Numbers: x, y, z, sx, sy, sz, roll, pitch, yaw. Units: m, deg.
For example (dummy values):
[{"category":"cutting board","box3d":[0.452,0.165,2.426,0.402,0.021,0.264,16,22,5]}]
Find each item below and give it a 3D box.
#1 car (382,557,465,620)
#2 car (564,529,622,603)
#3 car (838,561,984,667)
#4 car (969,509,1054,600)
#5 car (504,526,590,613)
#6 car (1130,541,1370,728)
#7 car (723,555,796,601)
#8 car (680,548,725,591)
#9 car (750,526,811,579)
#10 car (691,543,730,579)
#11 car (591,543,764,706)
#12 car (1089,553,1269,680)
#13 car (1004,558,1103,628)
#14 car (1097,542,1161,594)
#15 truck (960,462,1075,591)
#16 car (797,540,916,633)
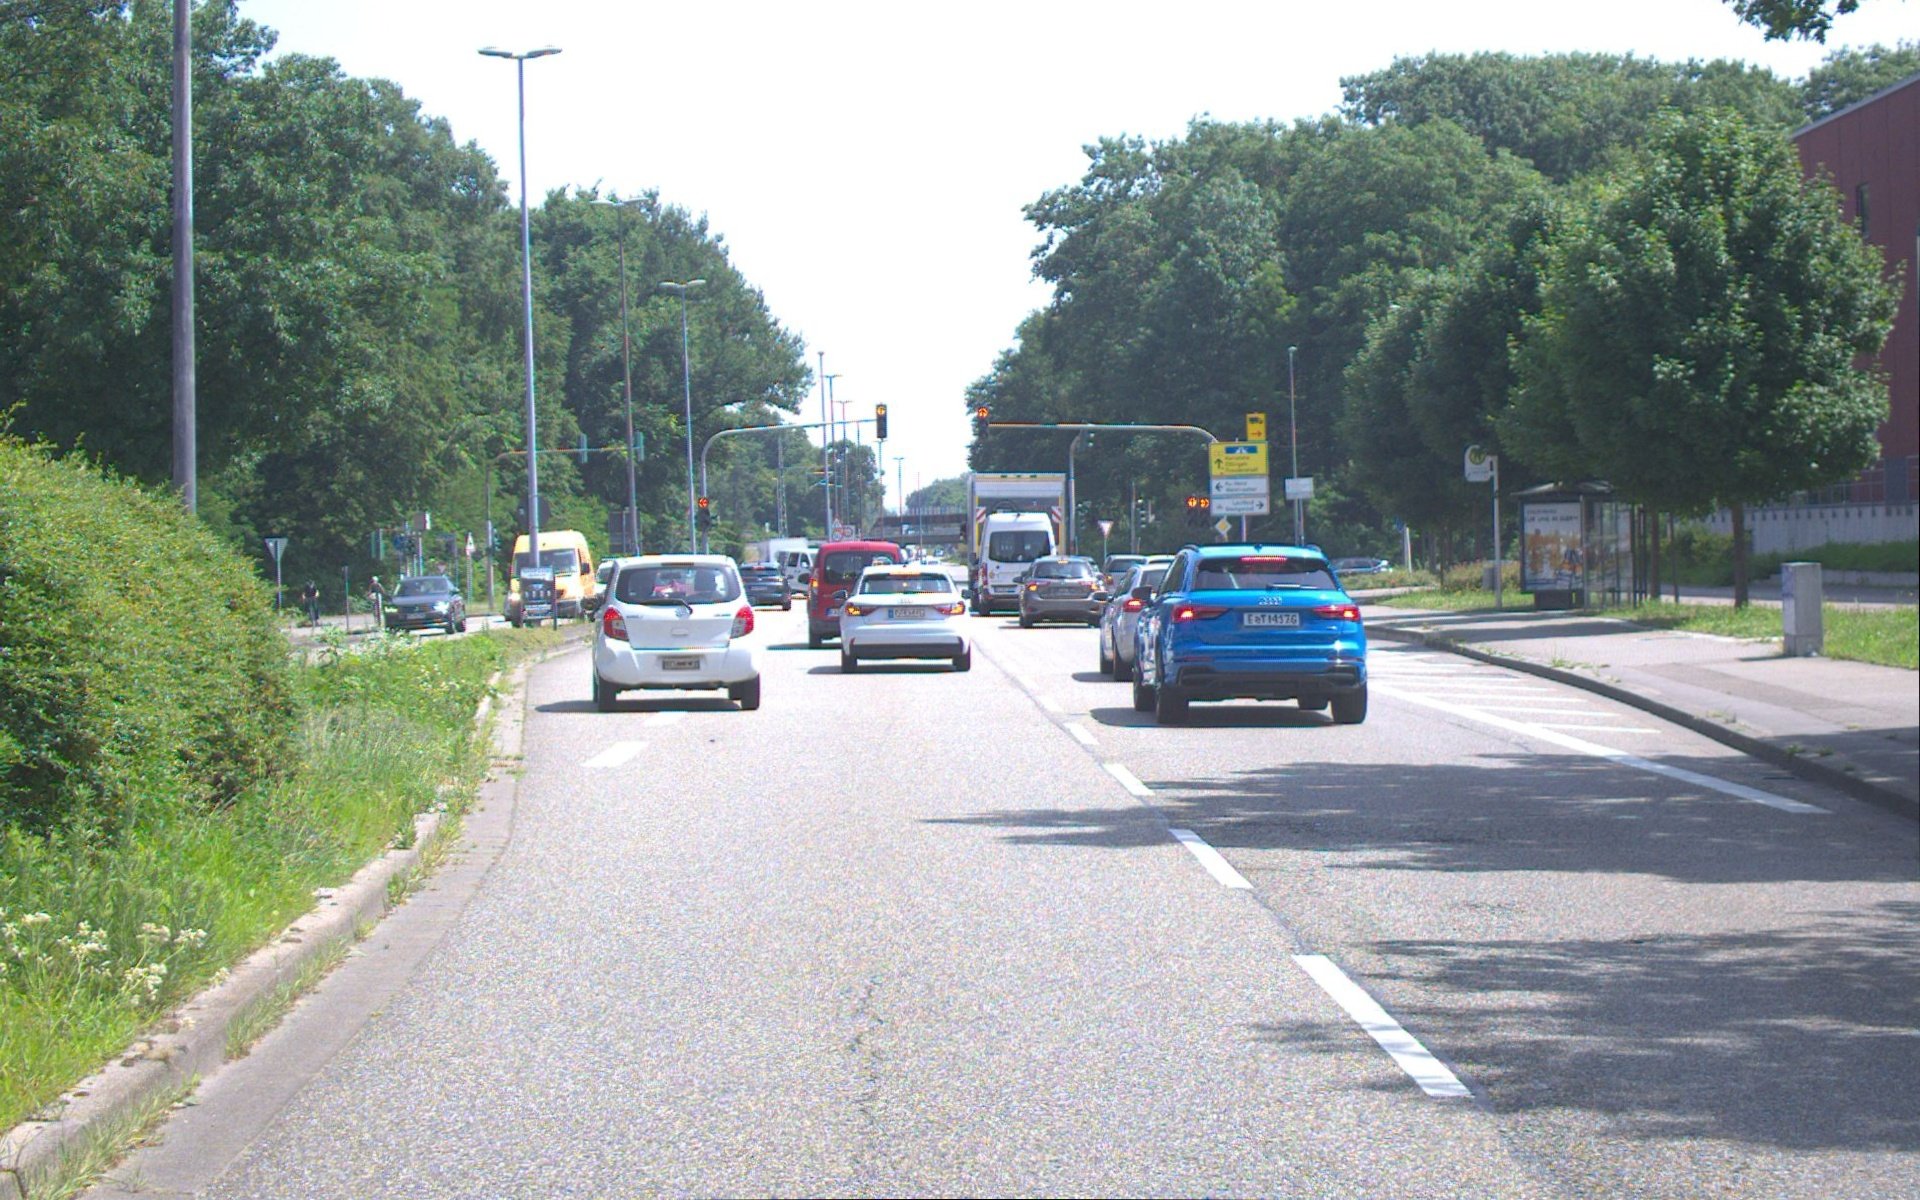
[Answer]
[{"category":"car","box3d":[-14.627,-0.322,93.957,1.710,1.656,4.000,-1,0,-1]},{"category":"car","box3d":[-11.618,-1.069,108.889,1.779,2.274,4.001,-1,0,-6]},{"category":"car","box3d":[-0.663,0.168,46.516,1.884,1.349,4.000,-1,0,-1]},{"category":"car","box3d":[1.315,-1.197,89.210,1.993,2.248,4.000,-2,1,-1]},{"category":"car","box3d":[-11.188,-0.829,93.410,1.779,2.274,4.752,-1,0,-1]},{"category":"car","box3d":[2.597,0.282,31.698,1.808,1.587,4.349,-1,0,0]},{"category":"car","box3d":[-6.064,-0.691,104.347,1.993,1.284,4.000,-2,1,-1]},{"category":"car","box3d":[-8.266,-0.980,110.516,1.368,1.304,2.694,-2,1,-4]},{"category":"car","box3d":[-7.214,-1.912,137.888,1.993,2.007,4.001,-2,1,-8]},{"category":"car","box3d":[-11.649,-1.837,160.609,1.595,1.577,3.772,-2,1,-1]},{"category":"car","box3d":[-2.868,0.228,34.800,1.638,1.547,3.325,-1,0,-5]},{"category":"car","box3d":[2.664,0.181,42.590,1.865,1.468,4.000,-1,0,-1]},{"category":"car","box3d":[1.976,-0.174,73.905,1.865,1.305,4.001,-3,2,-1]},{"category":"car","box3d":[5.061,-0.979,103.307,1.633,1.459,4.000,-2,1,-1]},{"category":"truck","box3d":[1.586,-2.124,99.776,2.932,3.490,9.158,-2,1,-1]},{"category":"car","box3d":[-1.809,-0.236,58.766,1.794,1.518,4.001,-1,0,-5]}]
